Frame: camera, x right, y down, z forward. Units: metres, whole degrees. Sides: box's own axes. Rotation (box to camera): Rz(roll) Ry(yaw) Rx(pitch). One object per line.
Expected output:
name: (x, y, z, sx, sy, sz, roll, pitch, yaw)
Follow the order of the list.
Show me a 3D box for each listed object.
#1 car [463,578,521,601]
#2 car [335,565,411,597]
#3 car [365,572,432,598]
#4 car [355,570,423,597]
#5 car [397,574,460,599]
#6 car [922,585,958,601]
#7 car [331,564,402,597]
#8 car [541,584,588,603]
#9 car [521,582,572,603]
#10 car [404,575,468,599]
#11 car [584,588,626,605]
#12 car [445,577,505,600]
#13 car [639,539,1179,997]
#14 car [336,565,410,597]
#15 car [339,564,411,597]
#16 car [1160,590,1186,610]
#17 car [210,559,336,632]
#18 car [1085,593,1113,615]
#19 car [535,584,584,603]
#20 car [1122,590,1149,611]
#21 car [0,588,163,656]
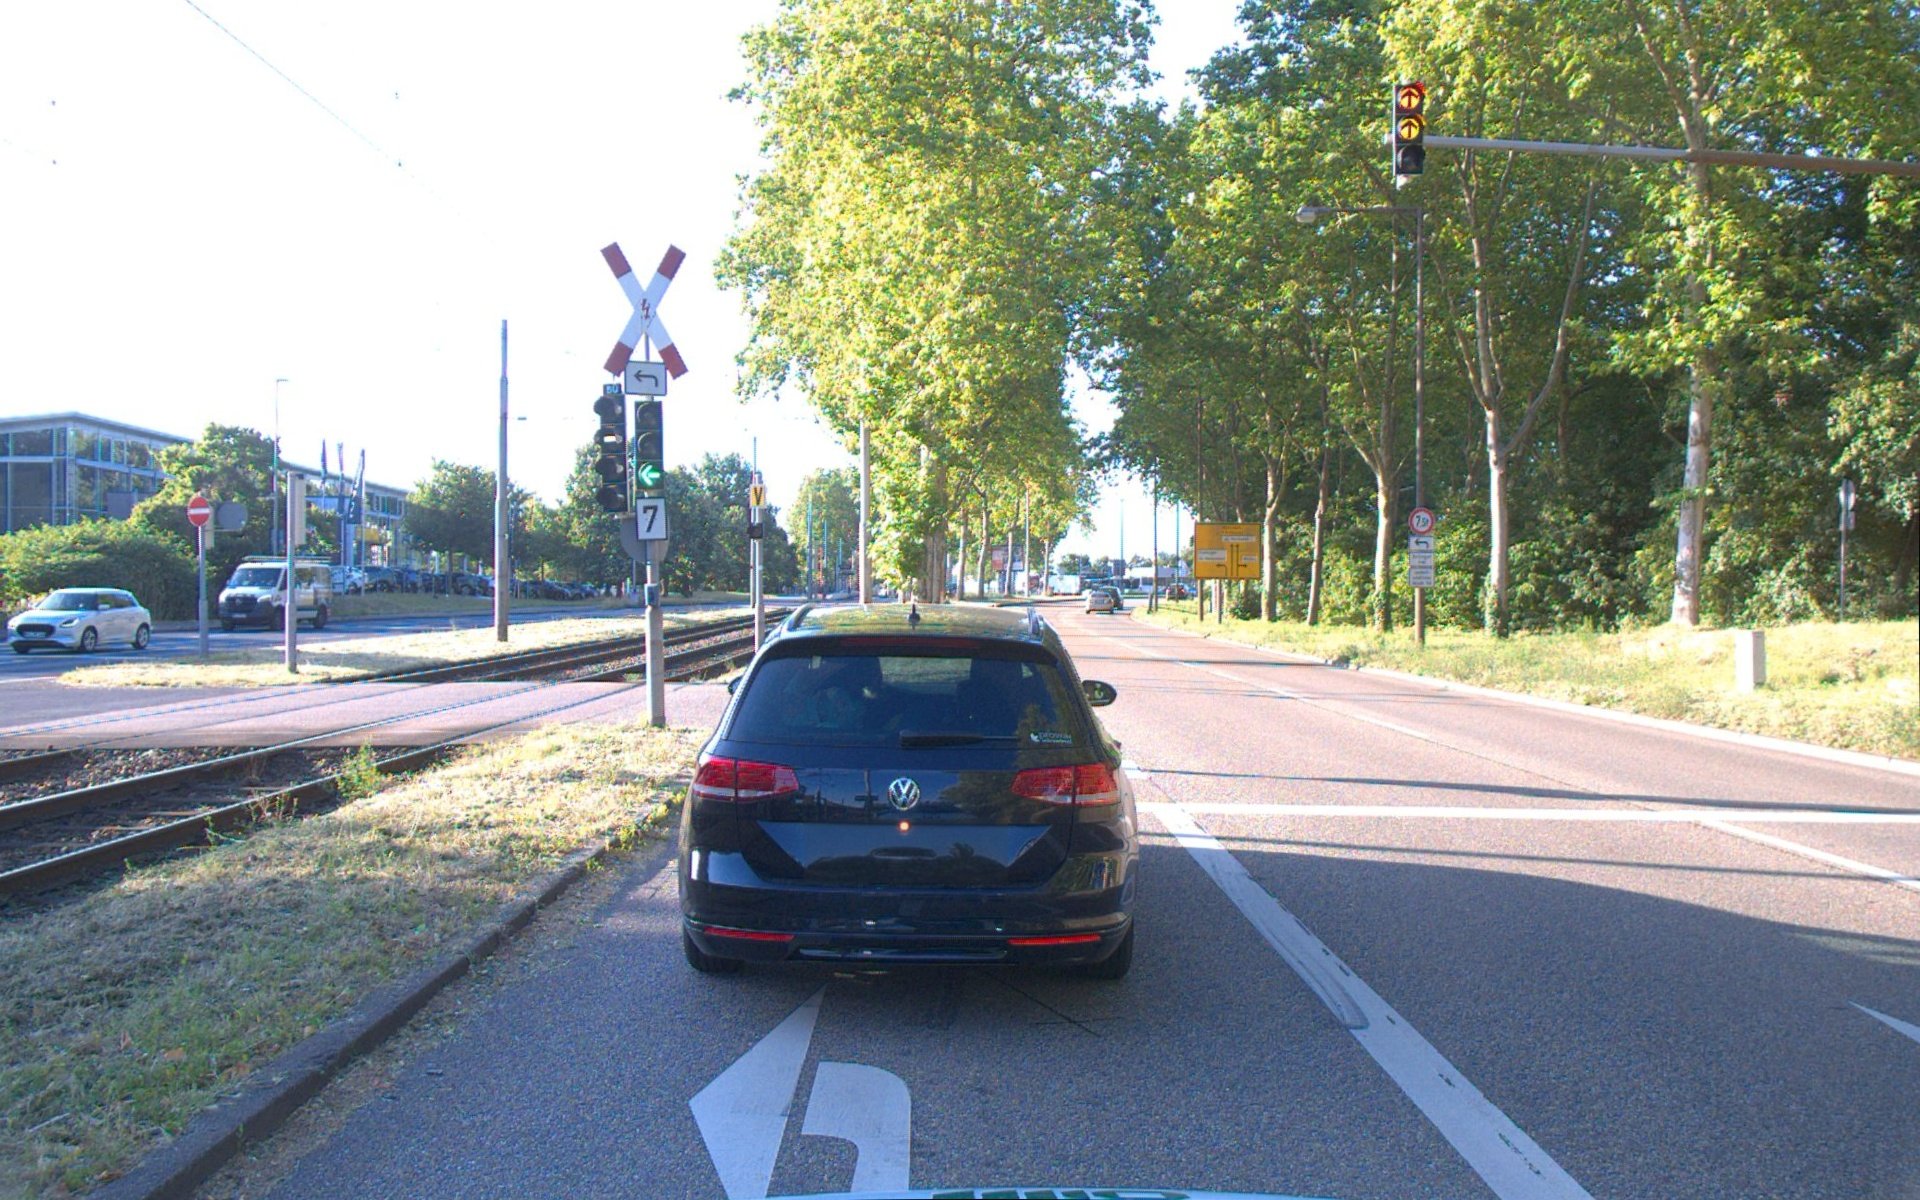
car: (-35.233, -0.780, 124.479, 3.909, 1.649, 1.742, 1, 0, -6)
car: (-32.906, -1.055, 92.723, 3.930, 1.734, 1.732, 1, 0, -22)
car: (-35.537, -0.964, 104.719, 3.930, 1.583, 1.732, 1, 0, -22)
car: (-35.197, -0.990, 101.940, 3.930, 1.583, 1.732, 1, 0, -22)
car: (-35.701, -0.897, 111.114, 3.930, 1.583, 1.732, 1, 0, -22)
car: (-1.820, -0.651, 150.753, 1.952, 1.445, 4.001, 1, 0, 20)
car: (-35.544, -1.161, 99.025, 3.930, 1.848, 1.732, 1, 0, -22)
car: (-35.508, -0.549, 148.539, 3.909, 1.649, 1.742, 1, 0, -6)
car: (-34.543, -0.633, 138.236, 3.909, 1.649, 1.742, 1, 0, -6)
car: (-36.033, -0.877, 113.808, 3.913, 1.583, 1.740, 1, 0, -9)
car: (-35.953, -0.353, 167.443, 3.909, 1.583, 1.742, 1, 0, -5)
car: (-35.564, -0.821, 121.263, 3.909, 1.649, 1.742, 1, 0, -6)
car: (-0.201, 0.553, 7.260, 1.758, 1.490, 3.582, 1, 0, -1)
car: (-33.689, -1.065, 94.962, 3.930, 1.734, 1.732, 1, 0, -22)
car: (-34.437, -1.129, 97.287, 3.930, 1.848, 1.732, 1, 0, -22)
car: (19.179, -0.027, 148.805, 1.832, 1.663, 4.373, 4, 0, 12)
car: (-25.145, -0.184, 60.802, 2.052, 2.504, 5.853, 1, 1, 1)
car: (8.565, 0.214, 102.186, 1.575, 1.317, 3.984, 1, 0, 3)
car: (-35.211, -0.575, 145.381, 3.909, 1.649, 1.742, 1, 0, -6)
car: (20.807, 0.018, 196.005, 2.051, 2.361, 5.855, 1, 1, 18)
car: (-21.142, 0.498, 39.955, 1.824, 1.507, 4.091, 1, 1, -1)
